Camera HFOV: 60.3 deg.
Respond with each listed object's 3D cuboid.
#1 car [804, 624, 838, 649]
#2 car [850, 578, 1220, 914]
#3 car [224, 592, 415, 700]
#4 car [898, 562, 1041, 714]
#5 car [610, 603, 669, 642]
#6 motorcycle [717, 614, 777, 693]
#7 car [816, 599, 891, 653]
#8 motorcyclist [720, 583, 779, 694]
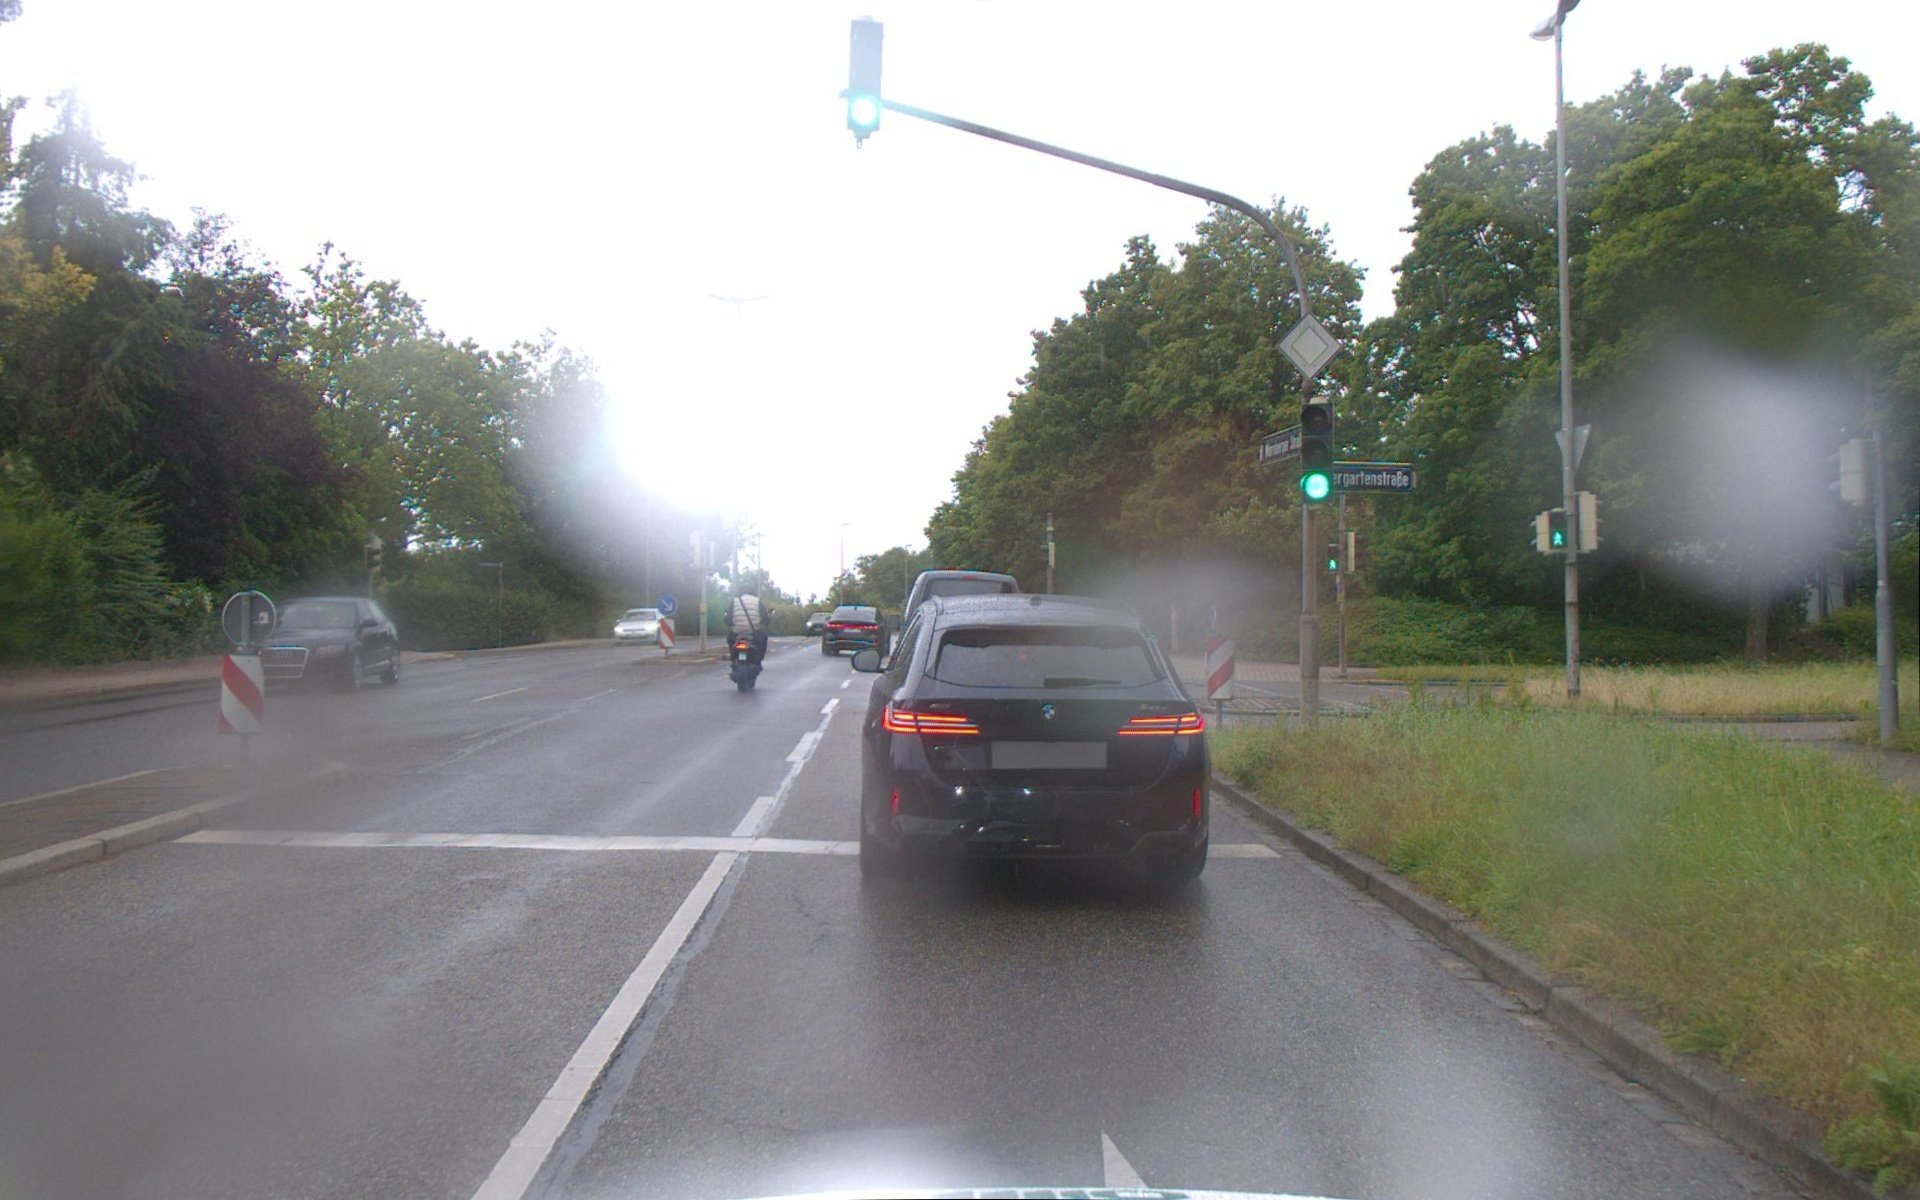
[{"bbox_3d":[-9.193,2.413,109.646,1.984,1.590,3.875,-1,-1,-2],"label":"car"},{"bbox_3d":[0.331,0.681,9.687,1.728,1.563,3.672,1,0,-1],"label":"car"},{"bbox_3d":[-9.778,0.649,25.563,1.827,1.519,3.828,-1,0,-7],"label":"car"},{"bbox_3d":[0.089,0.463,22.397,1.731,1.841,3.904,1,0,-1],"label":"car"},{"bbox_3d":[-13.062,0.891,67.582,1.693,1.511,4.155,-1,0,-2],"label":"car"},{"bbox_3d":[-3.229,0.793,25.202,0.726,1.139,1.426,1,0,-1],"label":"motorcycle"},{"bbox_3d":[-3.113,0.736,49.089,1.974,1.440,4.485,1,0,-1],"label":"car"},{"bbox_3d":[-3.207,0.582,25.270,0.828,1.676,0.467,1,0,-1],"label":"motorcyclist"}]
